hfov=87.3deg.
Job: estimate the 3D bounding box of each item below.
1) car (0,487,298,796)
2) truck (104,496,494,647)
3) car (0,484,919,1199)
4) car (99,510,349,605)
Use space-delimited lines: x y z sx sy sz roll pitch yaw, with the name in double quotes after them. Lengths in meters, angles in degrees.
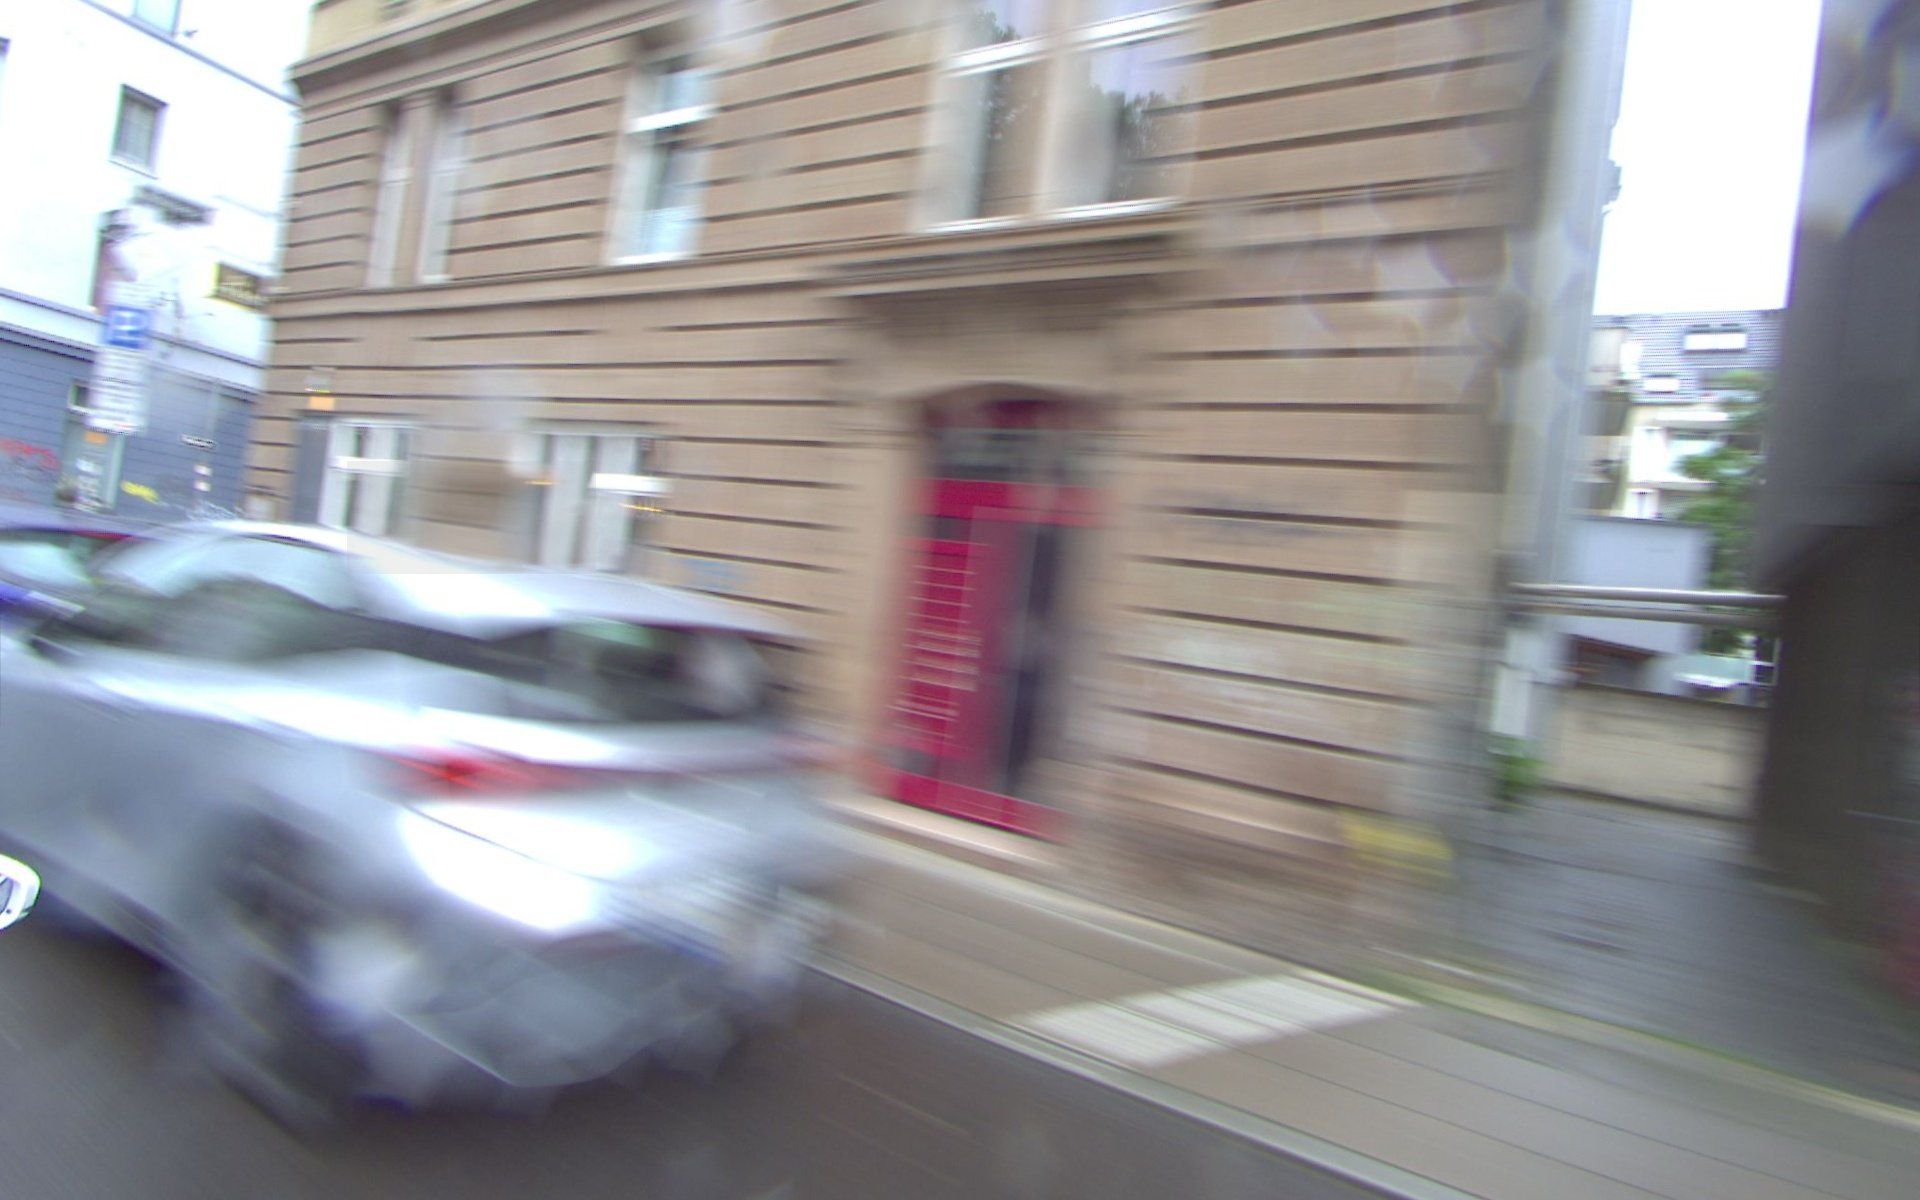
-6.366 0.038 6.567 4.188 1.533 1.724 8 -1 33 "car"
-10.960 -0.357 17.190 2.048 1.840 5.071 8 -1 28 "truck"
-2.511 0.527 4.056 4.282 1.541 1.750 8 -1 31 "car"
-16.104 -0.877 22.206 1.758 1.447 3.992 8 -1 33 "car"
